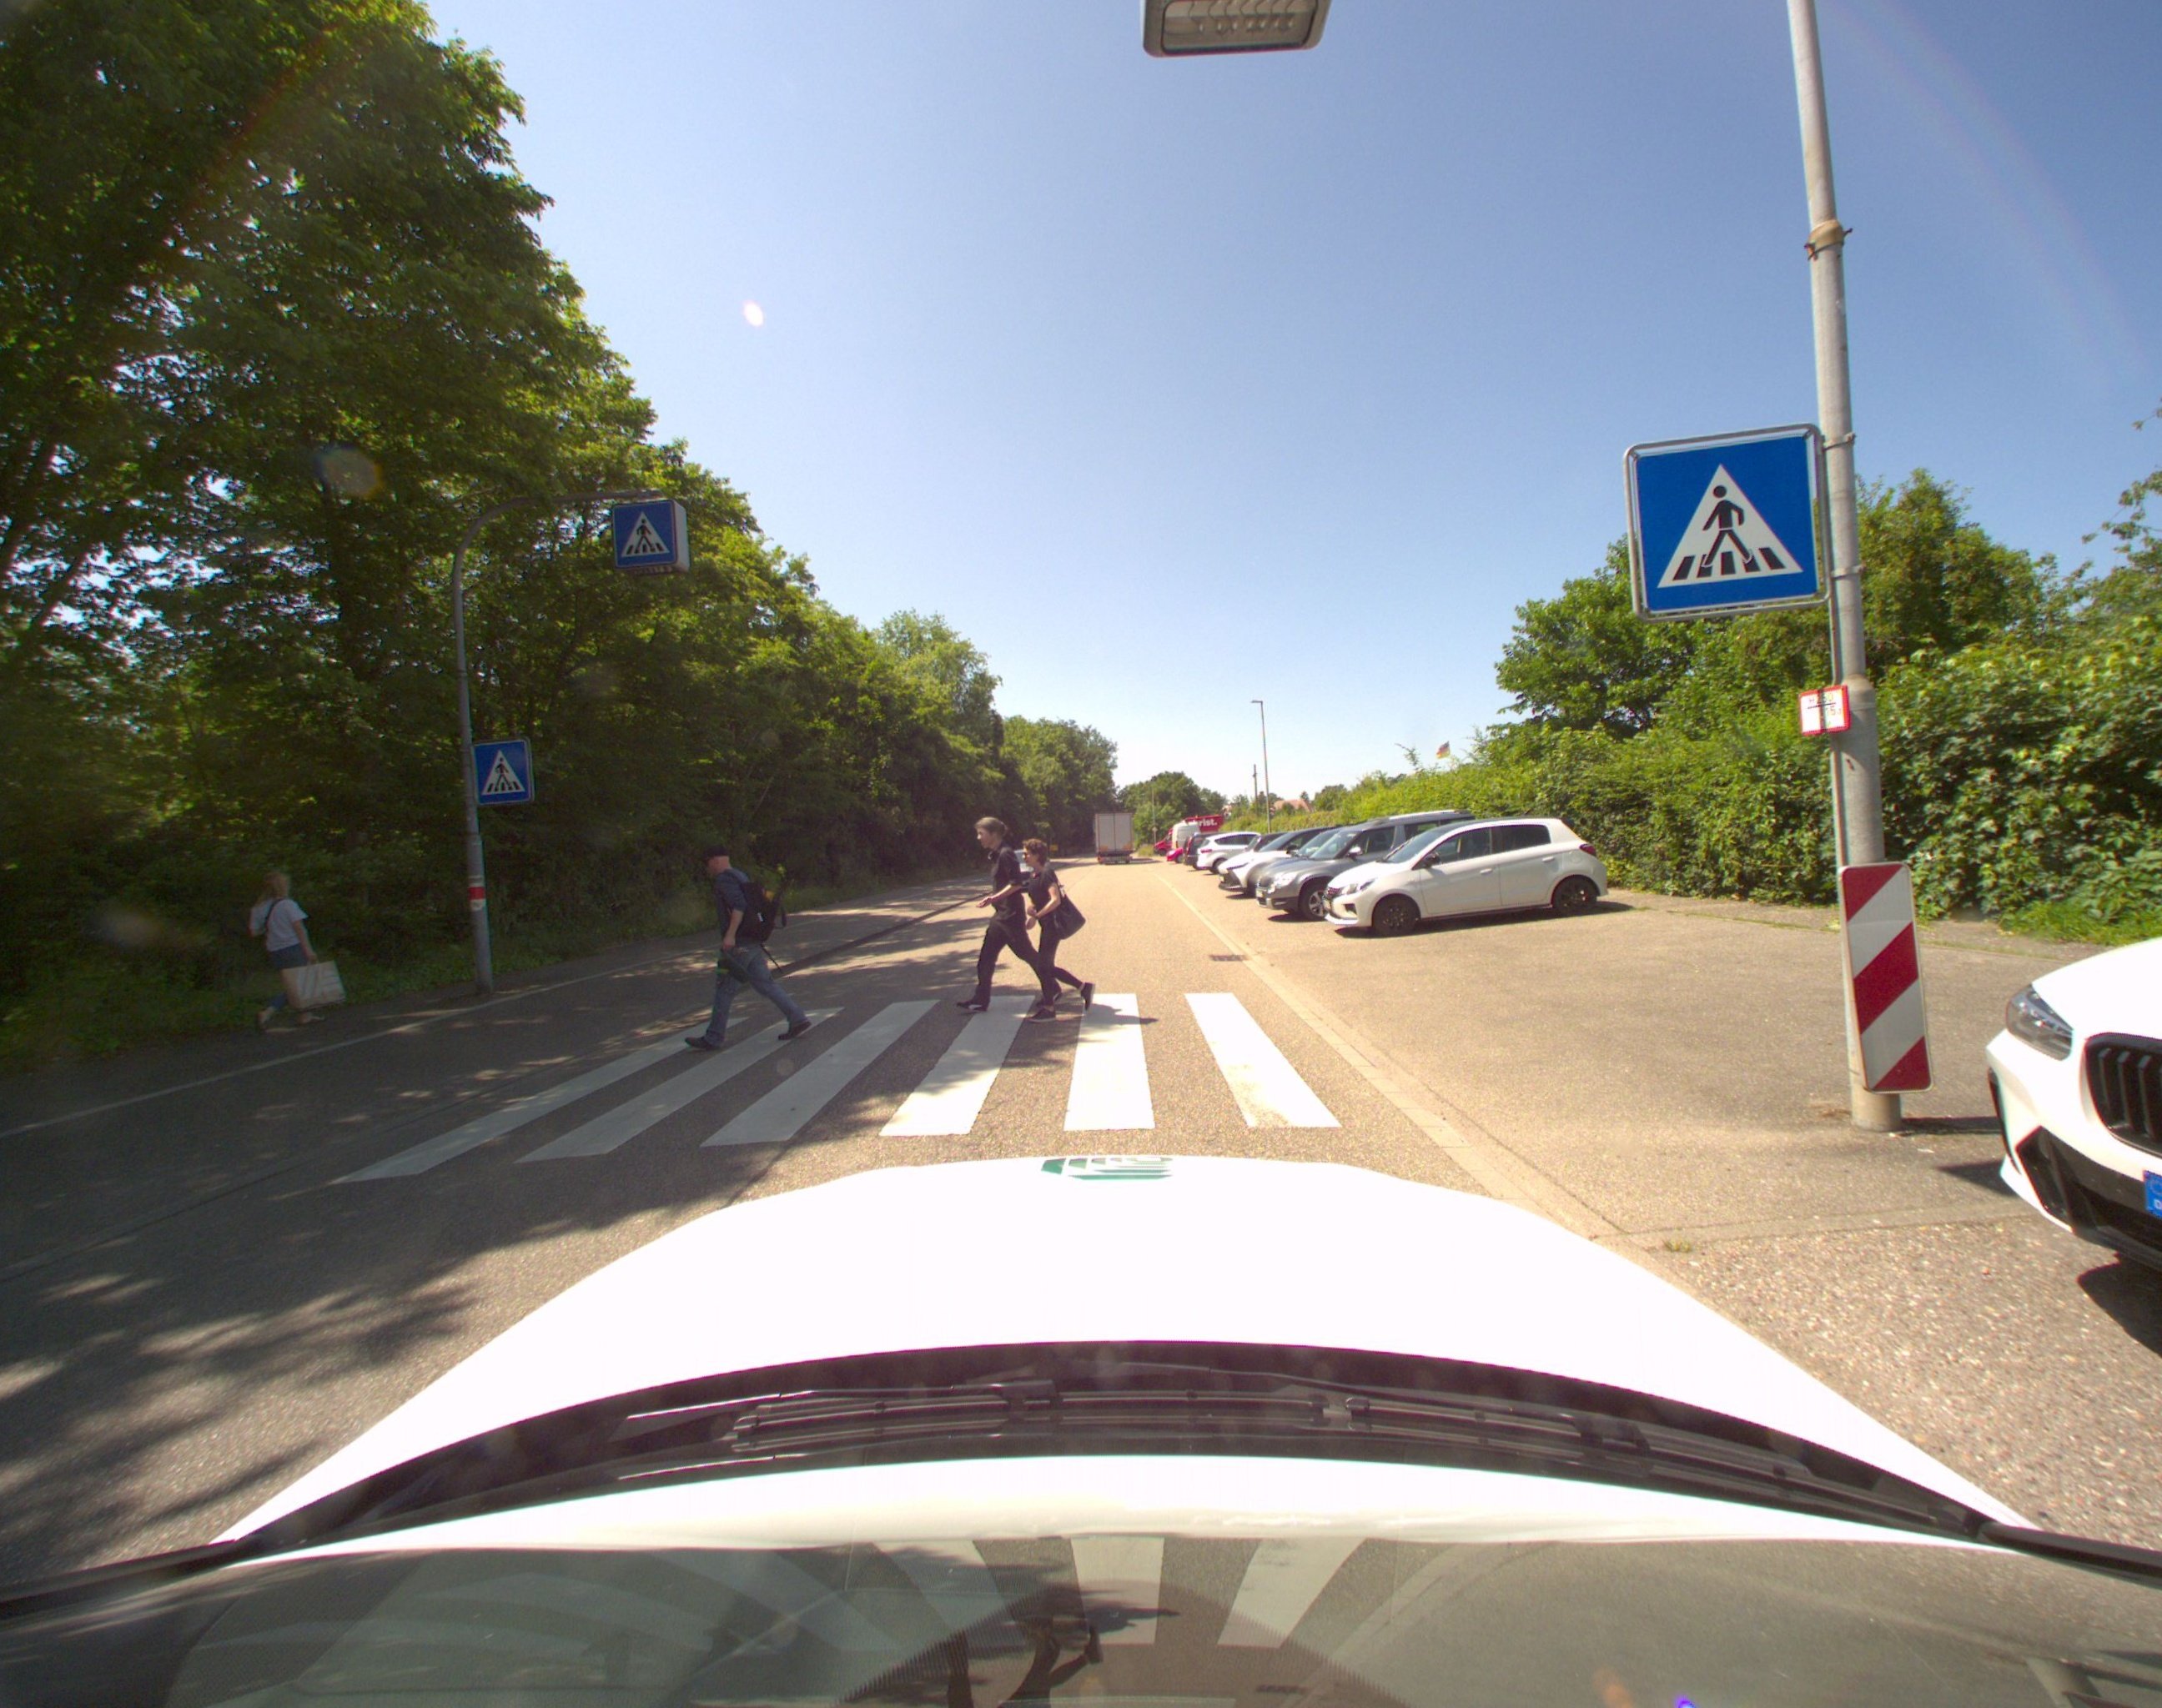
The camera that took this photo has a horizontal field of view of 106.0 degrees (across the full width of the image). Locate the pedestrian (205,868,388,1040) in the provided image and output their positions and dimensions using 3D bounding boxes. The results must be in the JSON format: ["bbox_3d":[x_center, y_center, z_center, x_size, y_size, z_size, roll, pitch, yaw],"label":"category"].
[{"bbox_3d":[-8.063,0.989,8.421,0.929,1.612,0.886,-3,1,1],"label":"pedestrian"}]

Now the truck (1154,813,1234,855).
[{"bbox_3d":[10.686,-1.878,76.755,7.087,3.439,2.339,-3,1,13],"label":"truck"}]

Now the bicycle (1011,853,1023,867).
[{"bbox_3d":[-5.112,0.477,65.626,0.558,1.027,1.842,-3,1,7],"label":"bicycle"}]

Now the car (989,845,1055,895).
[{"bbox_3d":[-2.139,0.549,30.577,1.884,1.532,4.198,-7,1,1],"label":"car"}]

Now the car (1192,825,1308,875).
[{"bbox_3d":[6.825,-0.175,33.186,4.262,1.578,1.765,-6,1,0],"label":"car"}]

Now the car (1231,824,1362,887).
[{"bbox_3d":[6.203,0.022,23.743,3.371,1.503,1.590,-5,1,5],"label":"car"}]

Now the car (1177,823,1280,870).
[{"bbox_3d":[7.083,-0.338,39.395,4.441,1.804,1.951,-6,0,-2],"label":"car"}]

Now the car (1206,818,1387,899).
[{"bbox_3d":[5.404,0.103,20.768,3.954,1.522,1.862,-7,1,-4],"label":"car"}]

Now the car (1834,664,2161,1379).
[{"bbox_3d":[4.771,0.230,1.738,4.436,1.729,1.852,-5,0,2],"label":"car"}]

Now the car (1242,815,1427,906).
[{"bbox_3d":[5.492,0.130,17.895,3.445,1.527,1.538,-7,1,-3],"label":"car"}]

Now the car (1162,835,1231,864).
[{"bbox_3d":[7.396,-0.287,52.263,4.042,1.434,1.835,-6,1,-1],"label":"car"}]

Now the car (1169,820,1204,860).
[{"bbox_3d":[8.061,-1.113,62.682,1.946,2.733,7.175,-5,1,4],"label":"car"}]

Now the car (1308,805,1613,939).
[{"bbox_3d":[5.455,0.239,12.084,3.671,1.450,1.613,-7,1,6],"label":"car"}]

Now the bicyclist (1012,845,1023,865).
[{"bbox_3d":[-5.134,0.038,65.612,0.645,1.565,0.838,-3,0,6],"label":"bicyclist"}]

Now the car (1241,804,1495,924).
[{"bbox_3d":[5.164,0.157,14.972,3.952,1.640,1.662,-7,1,-3],"label":"car"}]

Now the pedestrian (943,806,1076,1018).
[{"bbox_3d":[-0.697,0.510,7.747,1.085,1.864,0.779,-2,0,-16],"label":"pedestrian"}]

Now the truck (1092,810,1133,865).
[{"bbox_3d":[2.603,-1.256,64.059,2.722,3.745,13.258,-2,1,3],"label":"truck"}]

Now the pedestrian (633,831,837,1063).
[{"bbox_3d":[-2.928,0.738,7.054,1.152,1.751,1.023,-6,1,-2],"label":"pedestrian"}]

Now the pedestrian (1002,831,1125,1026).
[{"bbox_3d":[-0.178,0.621,7.285,0.895,1.611,0.776,-2,0,-16],"label":"pedestrian"}]
